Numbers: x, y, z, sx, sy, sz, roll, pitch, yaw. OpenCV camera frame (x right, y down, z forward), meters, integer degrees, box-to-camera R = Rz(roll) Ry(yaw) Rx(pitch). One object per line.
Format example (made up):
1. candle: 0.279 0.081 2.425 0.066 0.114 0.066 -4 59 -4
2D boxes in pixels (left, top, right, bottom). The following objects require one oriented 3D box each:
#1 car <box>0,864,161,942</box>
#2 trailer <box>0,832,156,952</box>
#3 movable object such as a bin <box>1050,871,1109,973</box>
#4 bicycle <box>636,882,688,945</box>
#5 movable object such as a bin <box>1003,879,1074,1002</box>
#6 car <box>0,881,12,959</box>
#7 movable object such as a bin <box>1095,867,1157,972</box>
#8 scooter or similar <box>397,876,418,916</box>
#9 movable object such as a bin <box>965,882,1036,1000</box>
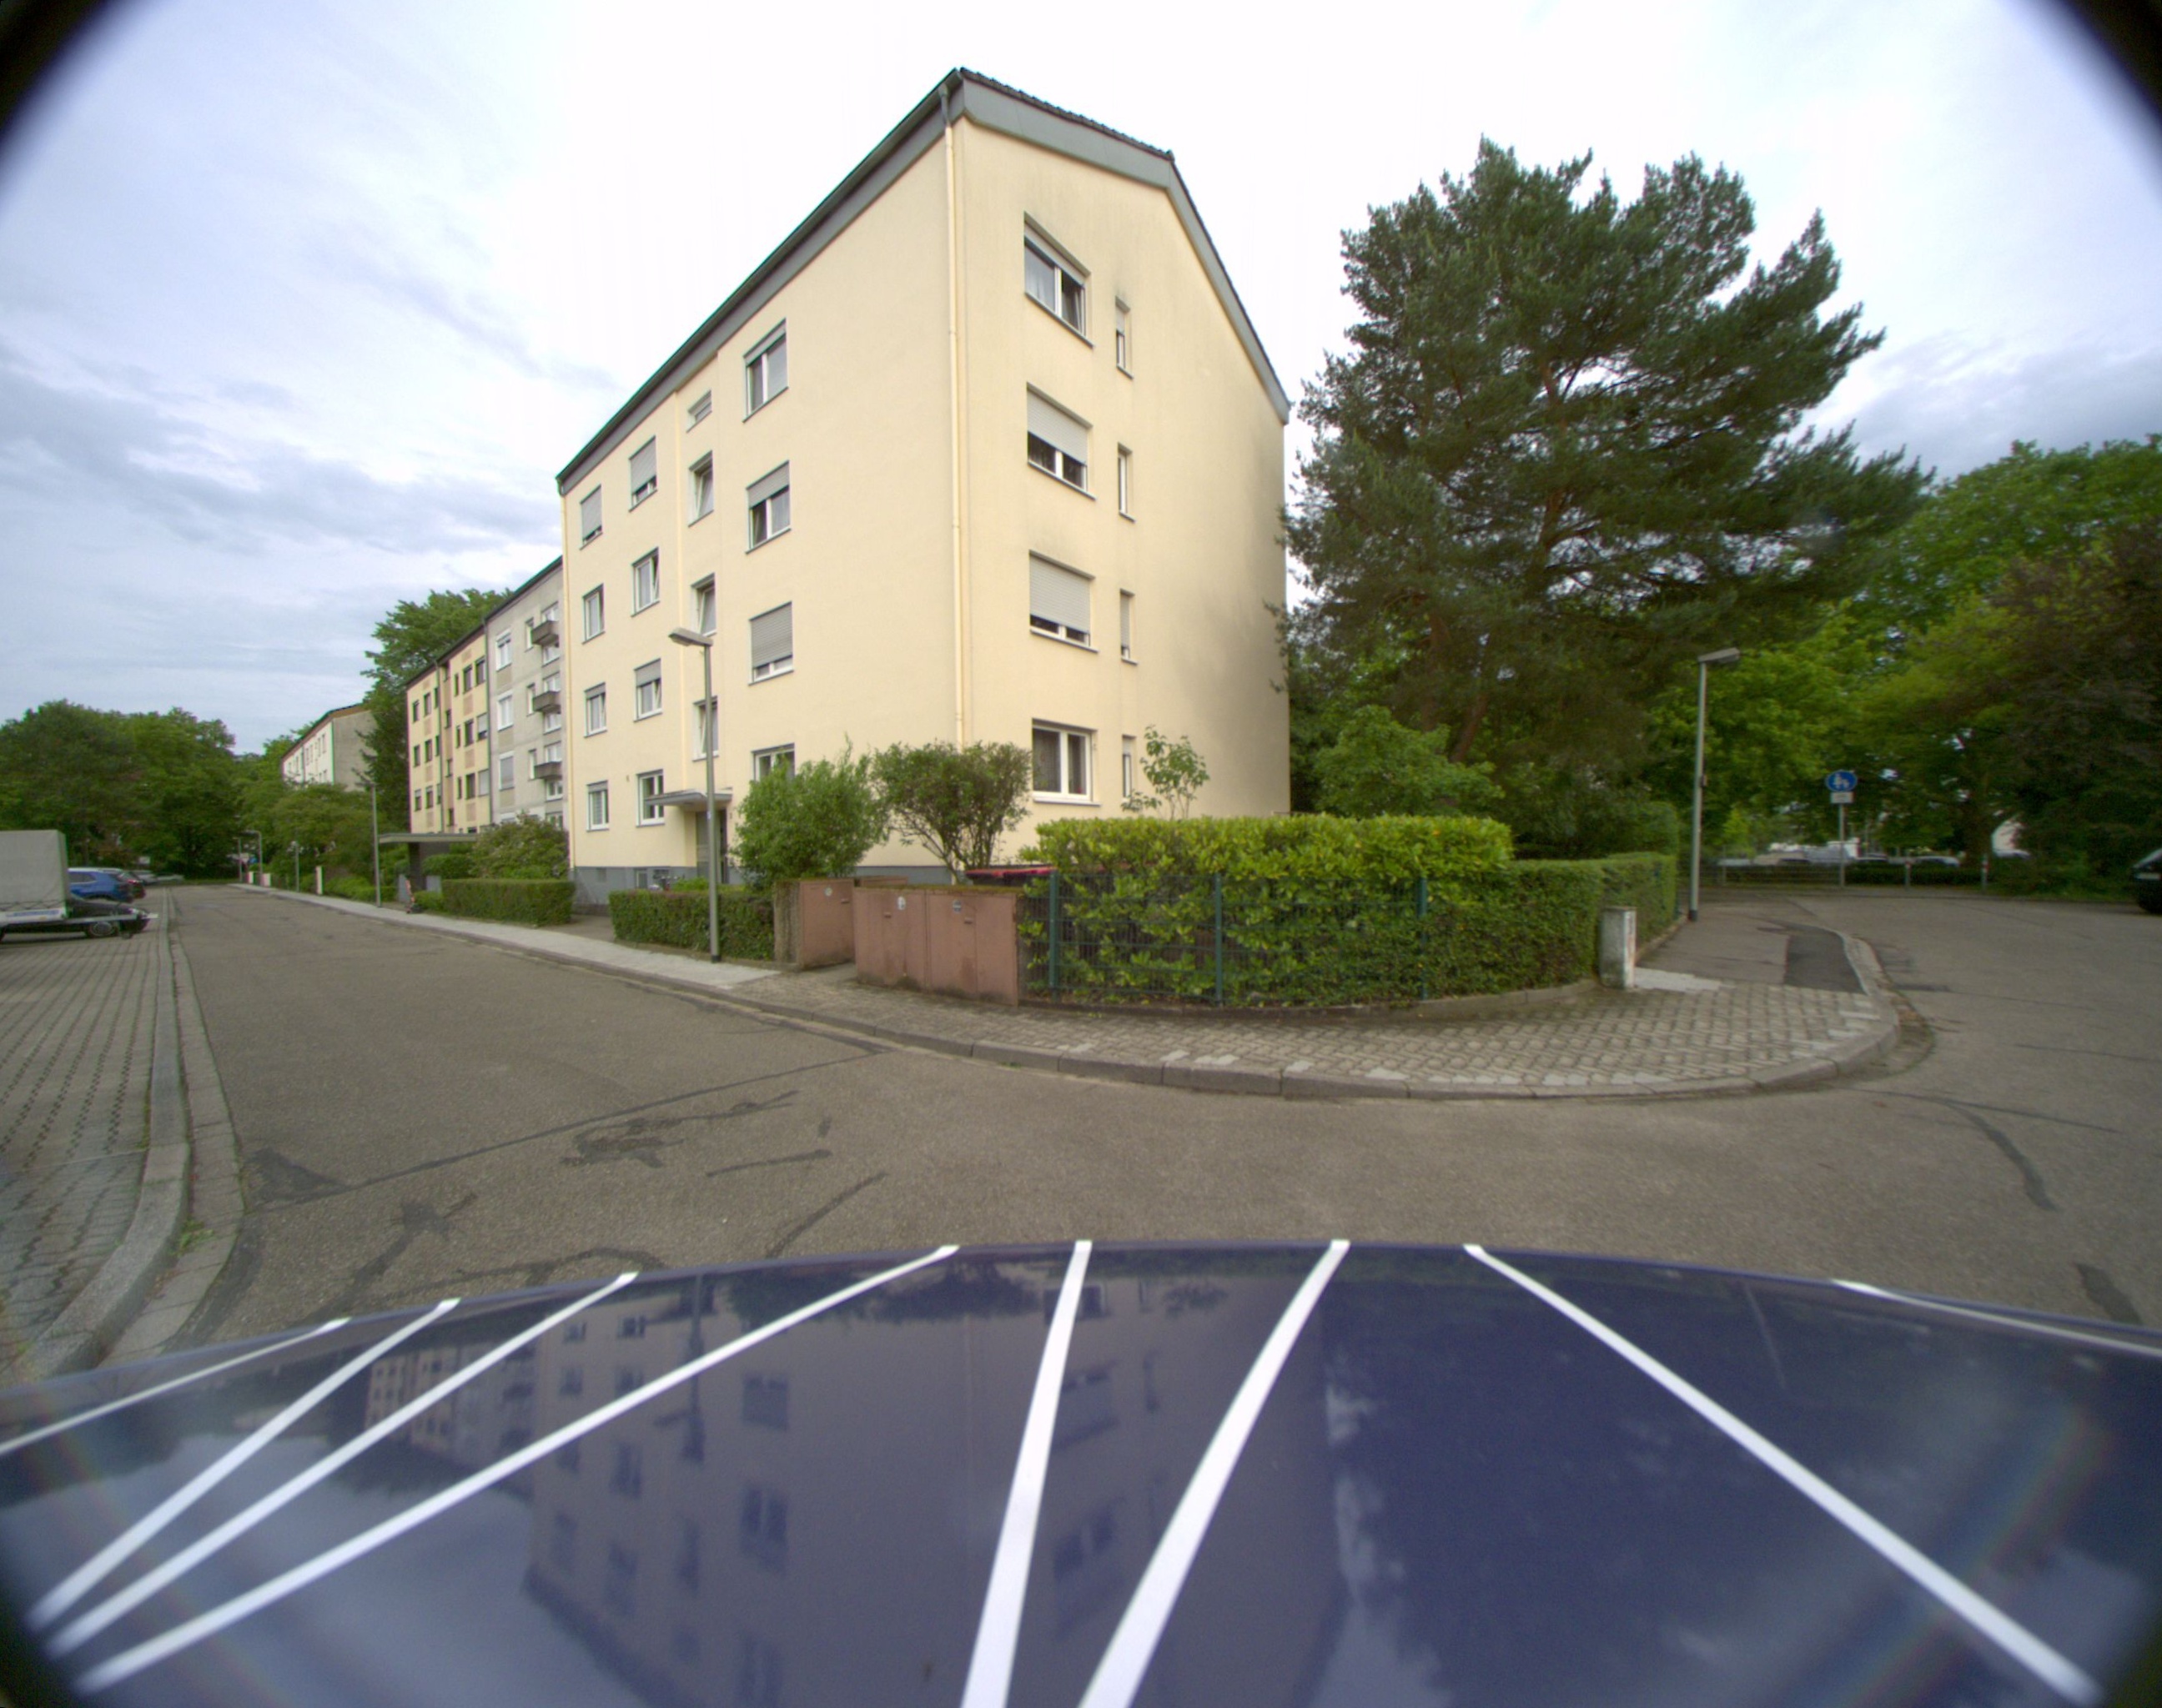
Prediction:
1. car: -25.607 1.156 18.322 1.994 1.791 4.335 -1 -2 39
2. trailer: -23.501 0.811 16.226 1.937 2.510 4.634 -1 1 40
3. movable object such as a bin: -0.018 0.805 9.226 0.514 1.180 0.508 0 0 39
4. bicycle: -7.768 1.077 14.065 1.414 1.069 0.319 0 2 40
5. movable object such as a bin: -0.436 0.858 7.773 0.514 1.180 0.508 0 0 39
6. car: -22.157 1.260 13.119 1.608 1.440 4.150 -1 0 40
7. movable object such as a bin: 0.518 0.736 8.790 0.514 1.158 0.508 0 0 39
8. scooter or similar: -20.692 1.289 23.337 1.161 1.204 0.274 -1 0 39
9. movable object such as a bin: -0.859 0.900 8.132 0.514 1.181 0.508 -1 1 39
